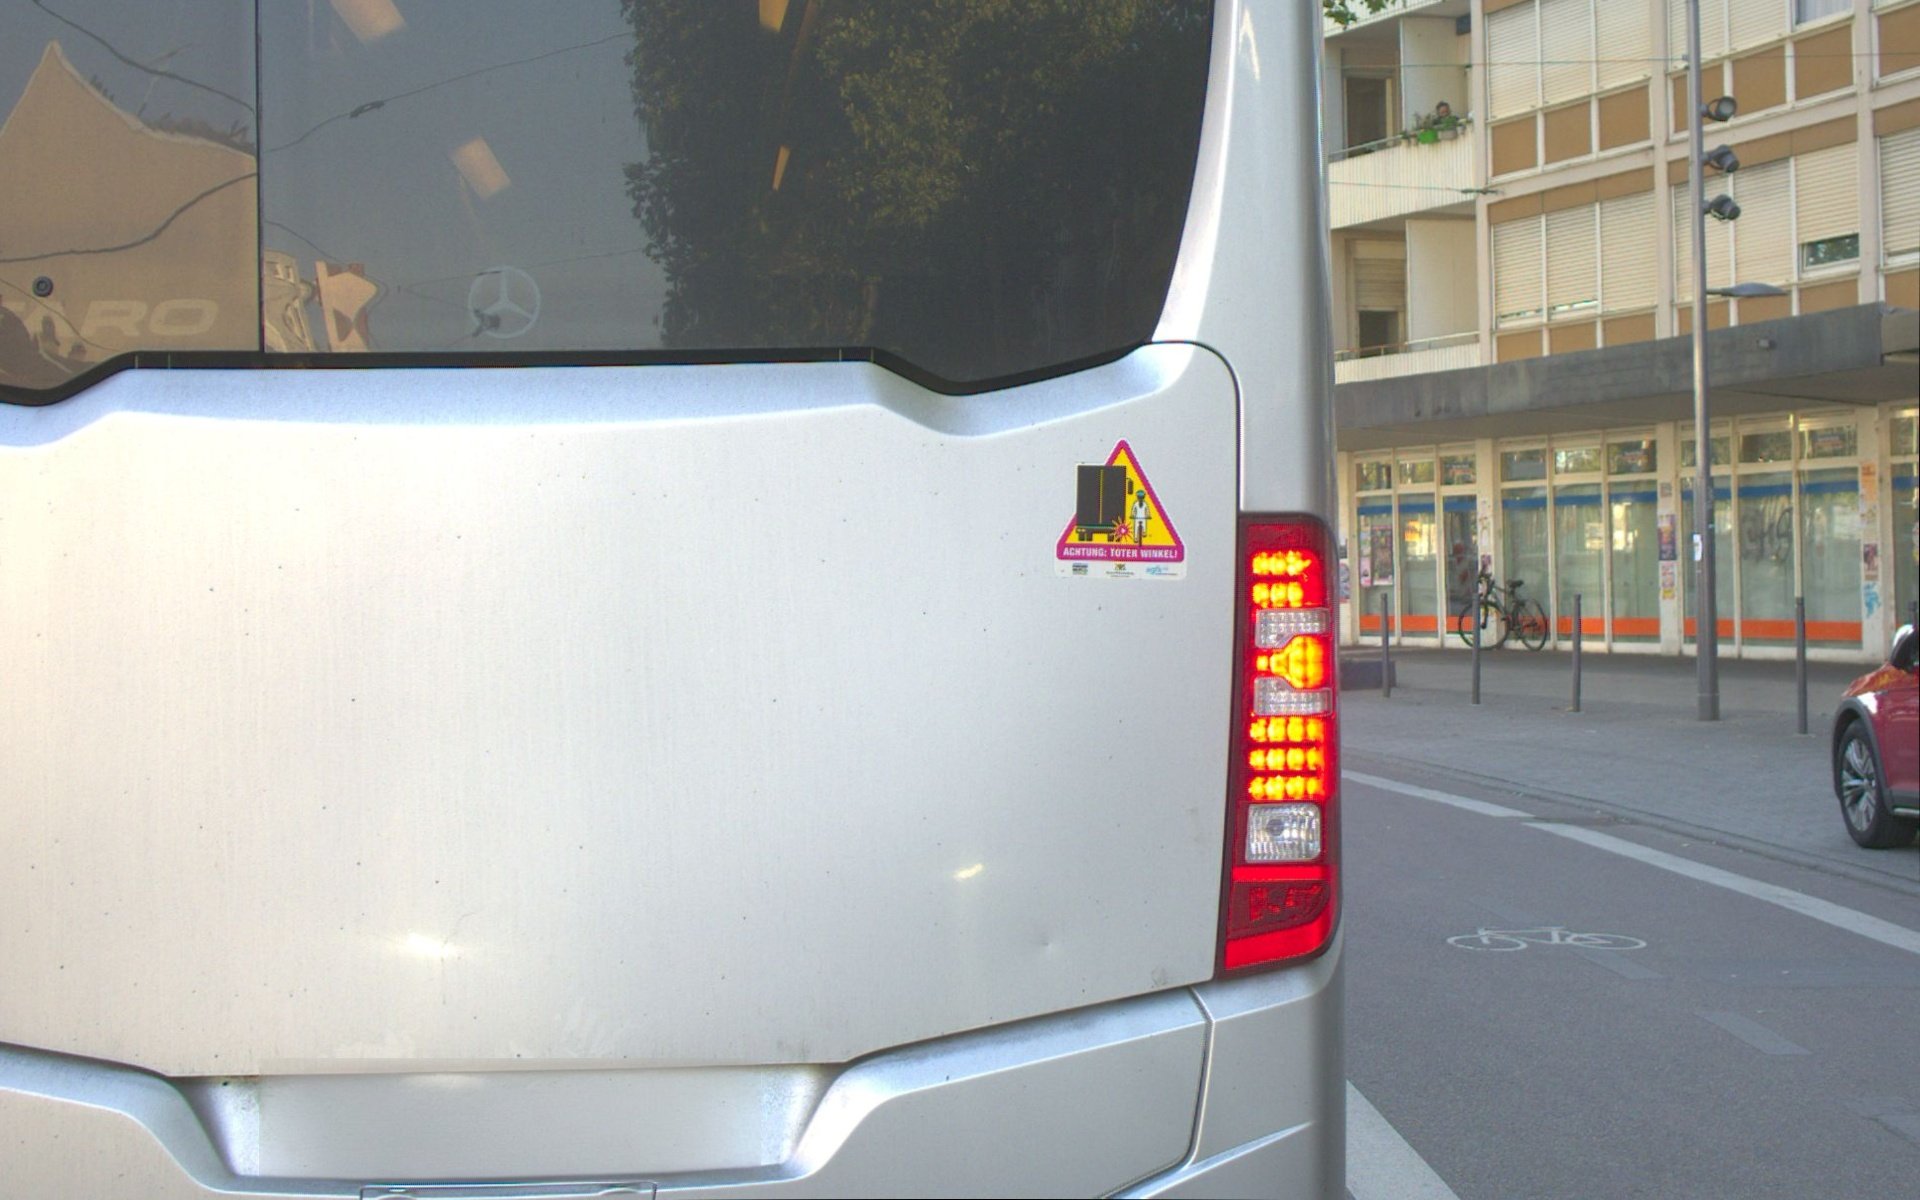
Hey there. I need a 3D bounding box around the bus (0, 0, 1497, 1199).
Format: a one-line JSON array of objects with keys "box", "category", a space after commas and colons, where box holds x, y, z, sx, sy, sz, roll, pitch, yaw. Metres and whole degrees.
[{"box": [-0.766, -0.141, 9.795, 2.630, 3.017, 9.998, 0, 1, -2], "category": "bus"}]

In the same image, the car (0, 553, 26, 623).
[{"box": [-25.811, -0.328, 88.281, 1.994, 1.785, 3.998, 1, 0, -41], "category": "car"}]

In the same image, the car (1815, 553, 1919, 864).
[{"box": [5.530, 0.507, 15.865, 1.769, 1.477, 4.304, -2, 1, -4], "category": "car"}]

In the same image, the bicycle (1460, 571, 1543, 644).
[{"box": [7.174, 0.094, 45.568, 0.412, 0.941, 1.441, -1, 1, -20], "category": "bicycle"}]
